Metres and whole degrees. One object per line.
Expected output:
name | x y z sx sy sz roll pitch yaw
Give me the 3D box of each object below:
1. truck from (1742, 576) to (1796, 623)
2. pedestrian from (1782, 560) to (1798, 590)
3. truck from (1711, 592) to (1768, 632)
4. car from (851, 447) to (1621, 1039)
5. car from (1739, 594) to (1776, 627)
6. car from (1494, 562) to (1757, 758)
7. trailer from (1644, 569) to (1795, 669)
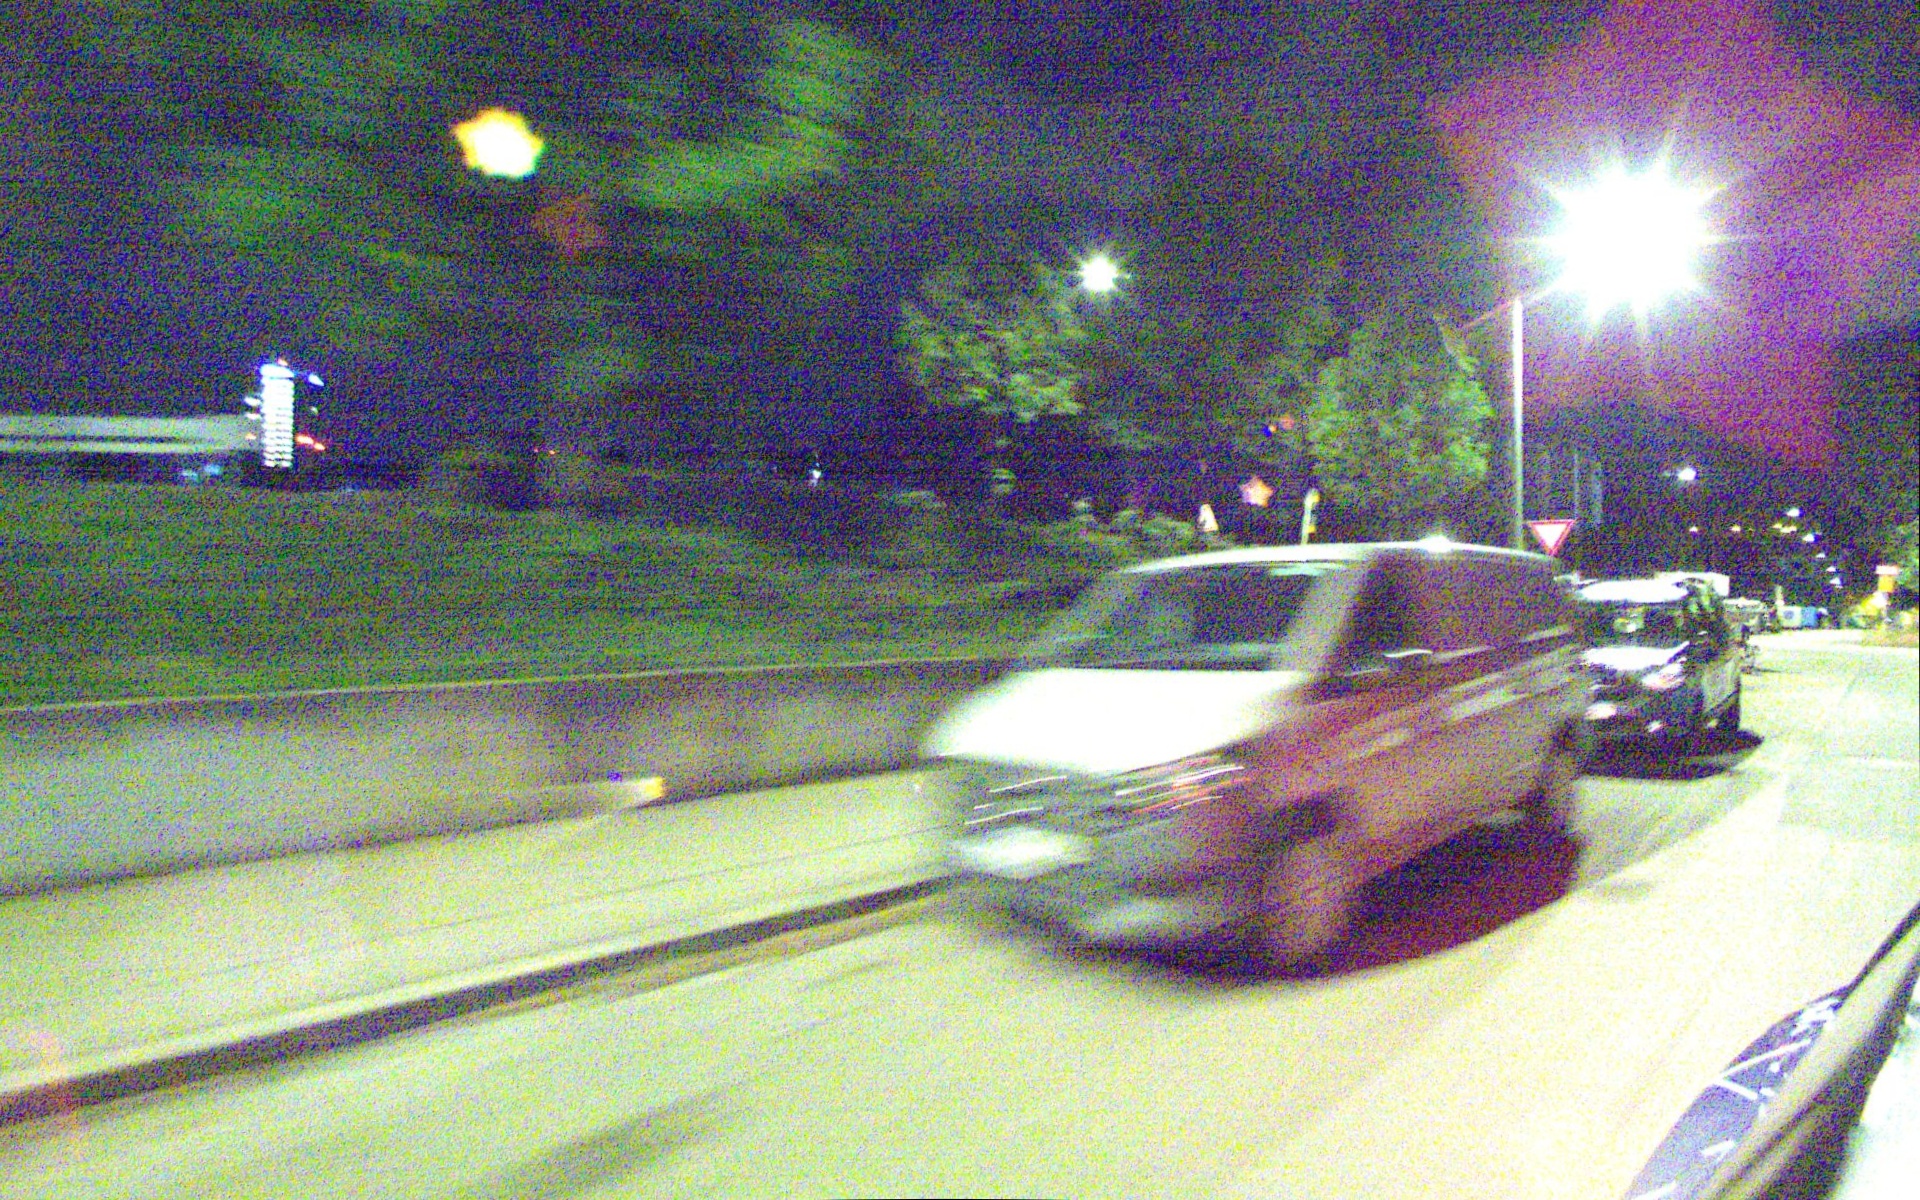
truck | 65.721 -0.052 82.133 3.045 3.669 9.457 0 0 41
pedestrian | 130.468 -3.906 159.060 1.739 4.766 2.265 0 0 44
truck | 53.613 0.777 69.519 2.400 2.603 6.303 1 1 44
car | 2.043 0.596 6.059 5.264 2.040 1.995 2 -4 -44
car | 59.811 0.741 75.888 1.859 2.417 3.937 0 0 43
car | 7.654 0.551 11.454 1.729 1.802 4.248 -1 -1 44
trailer | 17.226 0.380 23.208 1.477 2.039 4.950 0 0 21
